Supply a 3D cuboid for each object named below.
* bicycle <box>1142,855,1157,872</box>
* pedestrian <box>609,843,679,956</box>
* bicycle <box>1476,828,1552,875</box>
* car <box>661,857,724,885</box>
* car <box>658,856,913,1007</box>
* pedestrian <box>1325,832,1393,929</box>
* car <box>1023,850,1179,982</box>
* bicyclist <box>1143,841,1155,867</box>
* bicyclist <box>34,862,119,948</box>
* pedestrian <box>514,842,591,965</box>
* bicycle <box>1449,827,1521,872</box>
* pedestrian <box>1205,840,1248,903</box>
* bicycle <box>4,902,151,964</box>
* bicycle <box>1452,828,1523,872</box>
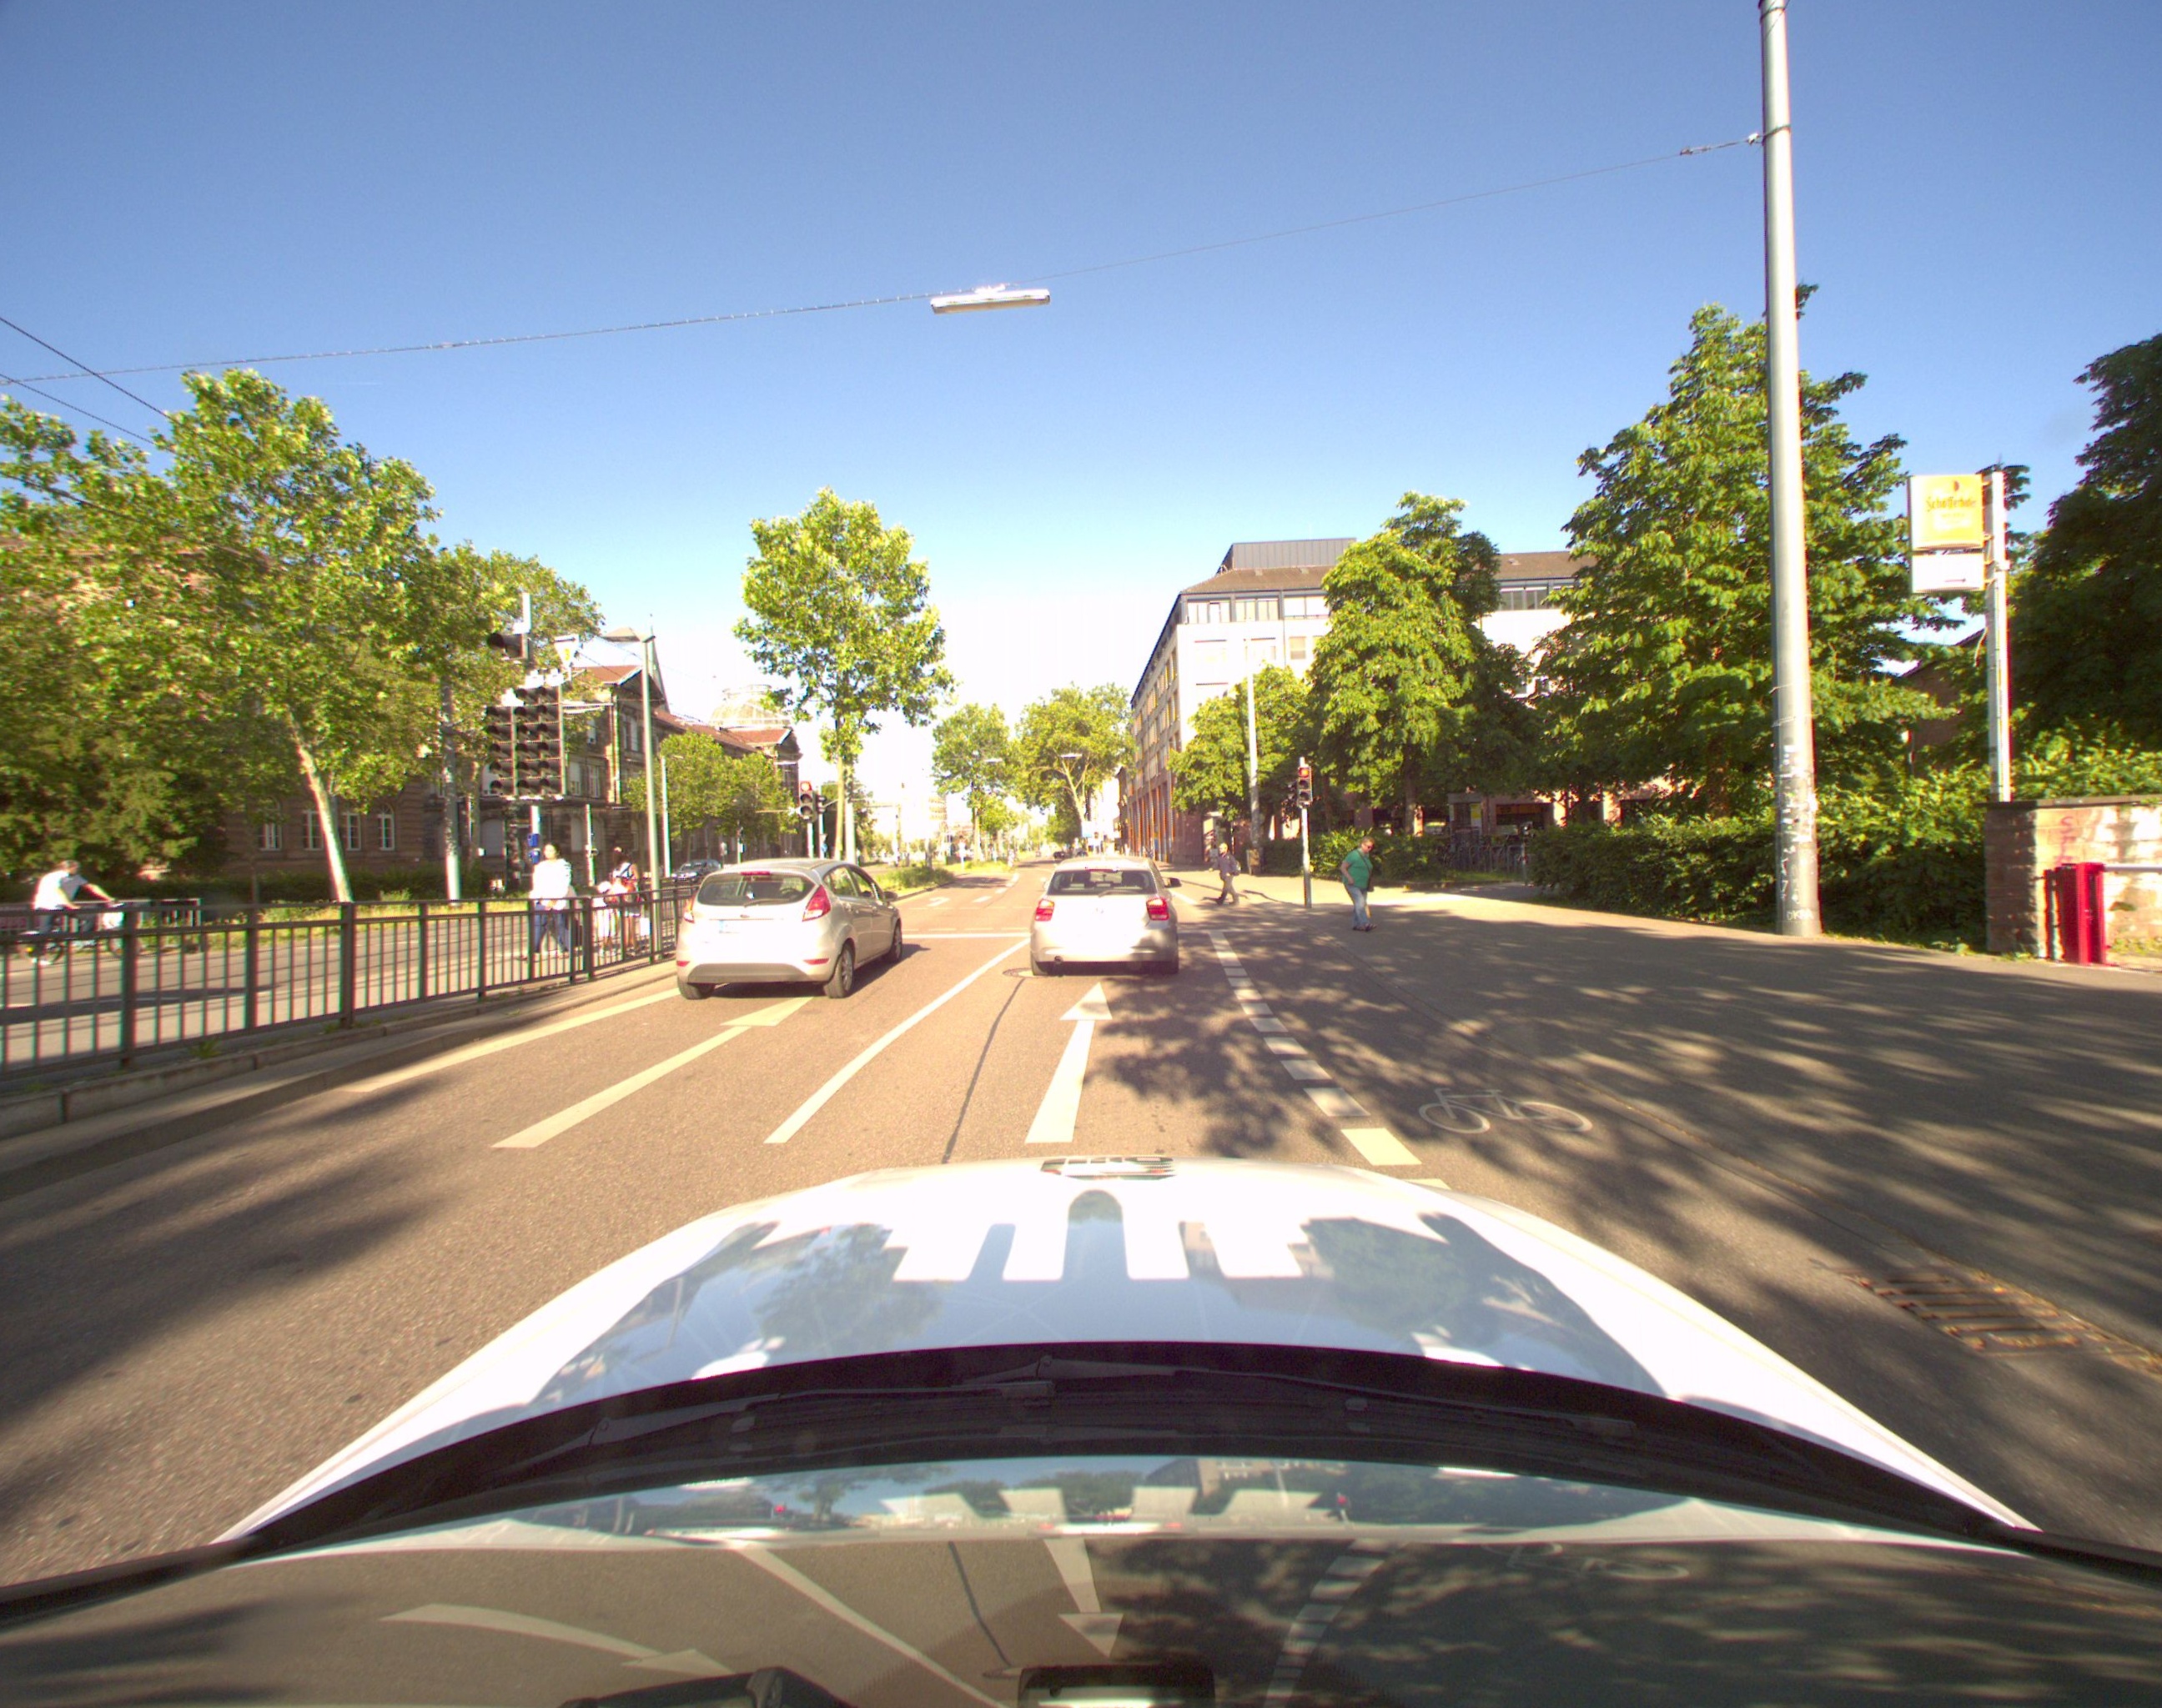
[{"bbox_3d":[4.540,0.640,53.581,0.827,1.041,1.878,-3,0,8],"label":"bicycle"},{"bbox_3d":[-6.275,0.637,11.724,0.630,1.557,0.646,-2,0,-6],"label":"pedestrian"},{"bbox_3d":[13.482,-0.087,25.387,1.989,1.314,0.574,-4,0,1],"label":"bicycle"},{"bbox_3d":[-24.948,1.048,52.489,1.986,1.625,4.002,-2,0,2],"label":"car"},{"bbox_3d":[-3.210,0.748,9.638,1.655,1.409,3.632,-1,0,0],"label":"car"},{"bbox_3d":[4.688,0.440,13.719,0.821,1.575,0.744,-3,-1,36],"label":"pedestrian"},{"bbox_3d":[0.410,0.688,10.962,1.721,1.390,3.846,-1,1,6],"label":"car"},{"bbox_3d":[4.462,0.008,53.498,0.655,1.657,0.766,-3,0,7],"label":"bicyclist"},{"bbox_3d":[-16.618,0.834,13.481,0.563,1.386,0.650,0,-1,-1],"label":"bicyclist"},{"bbox_3d":[-7.295,0.675,11.268,0.639,1.619,0.640,-2,-2,-5],"label":"pedestrian"},{"bbox_3d":[13.150,-0.141,26.545,1.989,1.314,0.574,-4,0,1],"label":"bicycle"},{"bbox_3d":[3.834,0.455,21.476,0.941,1.629,0.626,-1,0,-11],"label":"pedestrian"},{"bbox_3d":[-16.578,1.298,13.480,1.558,0.963,0.650,0,-1,-1],"label":"bicycle"},{"bbox_3d":[13.548,-0.134,27.156,1.989,1.314,0.574,-4,0,1],"label":"bicycle"}]
